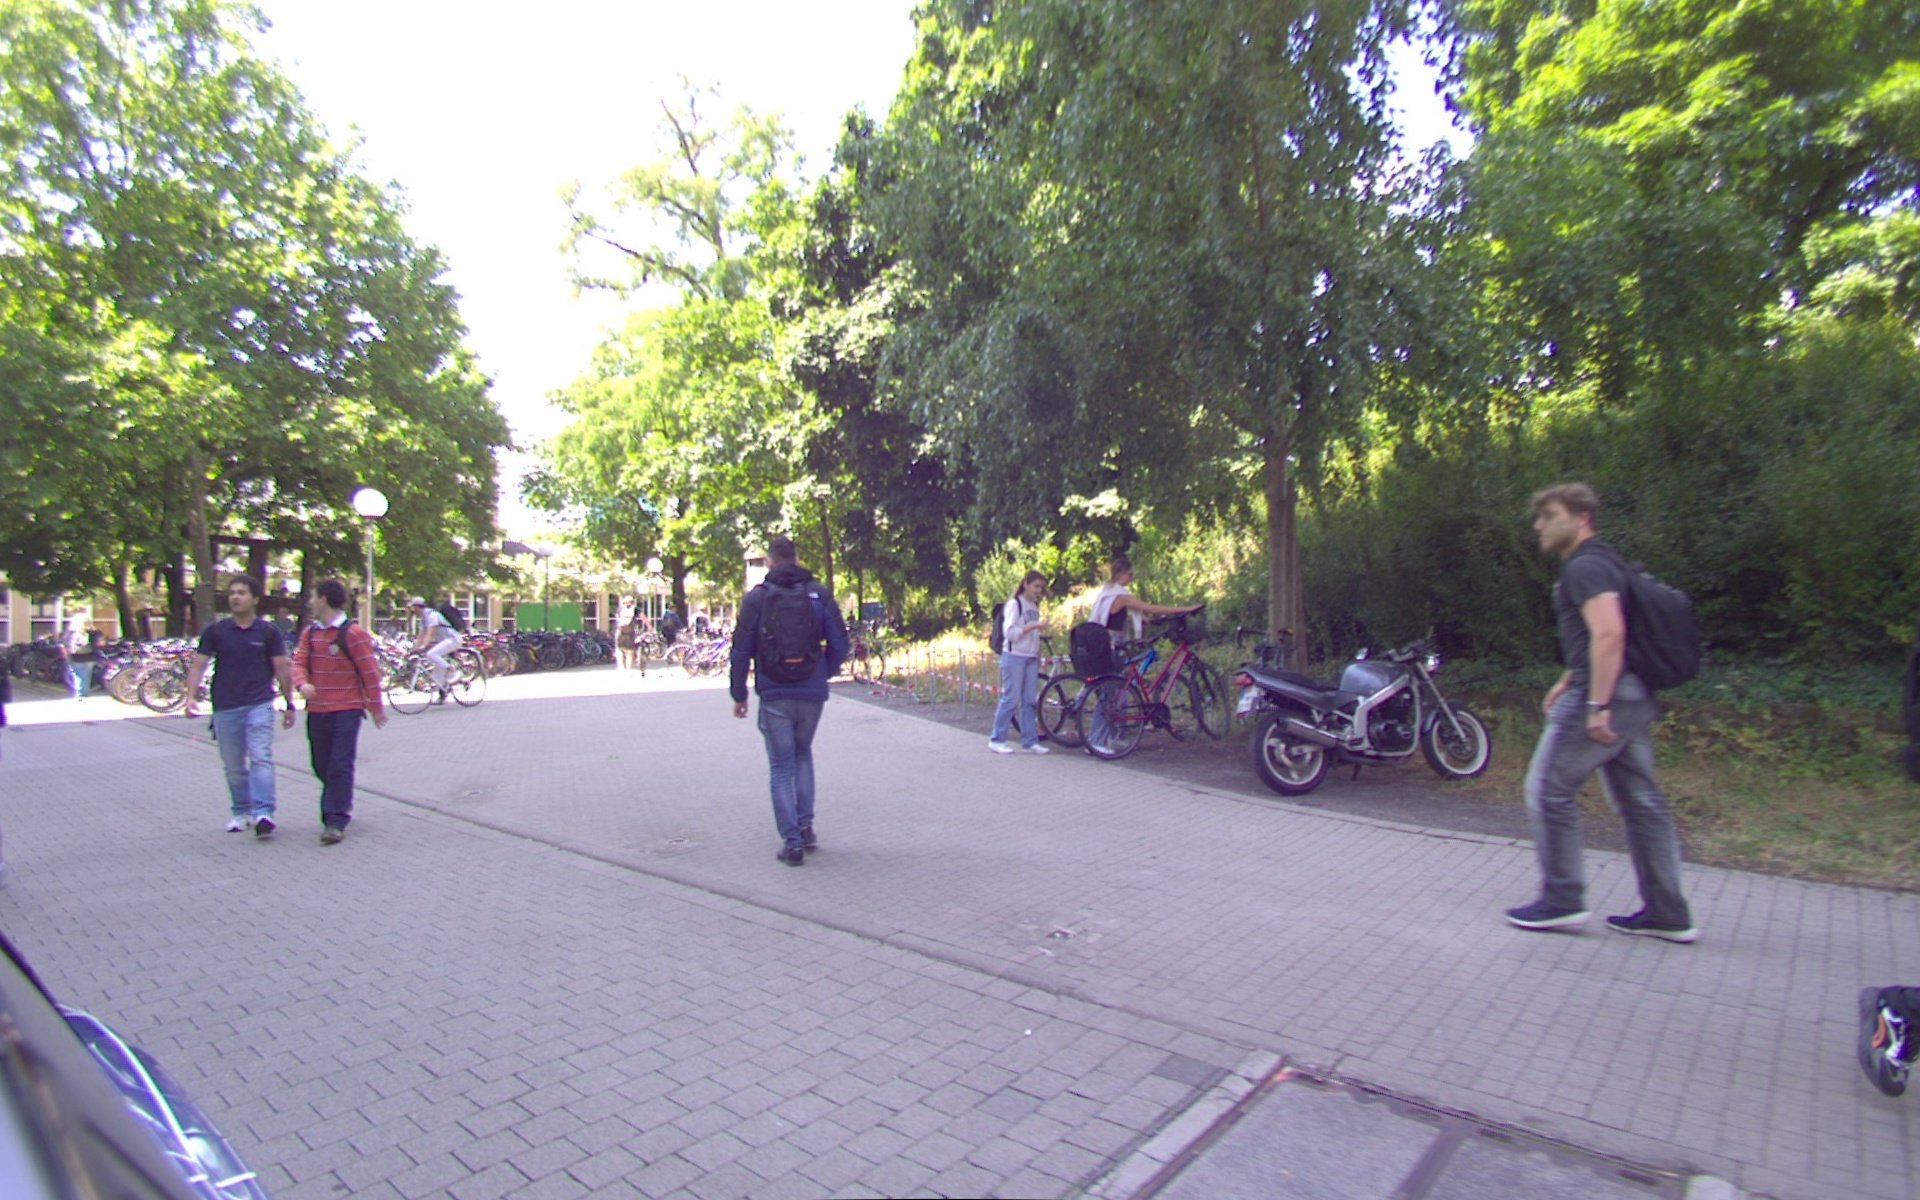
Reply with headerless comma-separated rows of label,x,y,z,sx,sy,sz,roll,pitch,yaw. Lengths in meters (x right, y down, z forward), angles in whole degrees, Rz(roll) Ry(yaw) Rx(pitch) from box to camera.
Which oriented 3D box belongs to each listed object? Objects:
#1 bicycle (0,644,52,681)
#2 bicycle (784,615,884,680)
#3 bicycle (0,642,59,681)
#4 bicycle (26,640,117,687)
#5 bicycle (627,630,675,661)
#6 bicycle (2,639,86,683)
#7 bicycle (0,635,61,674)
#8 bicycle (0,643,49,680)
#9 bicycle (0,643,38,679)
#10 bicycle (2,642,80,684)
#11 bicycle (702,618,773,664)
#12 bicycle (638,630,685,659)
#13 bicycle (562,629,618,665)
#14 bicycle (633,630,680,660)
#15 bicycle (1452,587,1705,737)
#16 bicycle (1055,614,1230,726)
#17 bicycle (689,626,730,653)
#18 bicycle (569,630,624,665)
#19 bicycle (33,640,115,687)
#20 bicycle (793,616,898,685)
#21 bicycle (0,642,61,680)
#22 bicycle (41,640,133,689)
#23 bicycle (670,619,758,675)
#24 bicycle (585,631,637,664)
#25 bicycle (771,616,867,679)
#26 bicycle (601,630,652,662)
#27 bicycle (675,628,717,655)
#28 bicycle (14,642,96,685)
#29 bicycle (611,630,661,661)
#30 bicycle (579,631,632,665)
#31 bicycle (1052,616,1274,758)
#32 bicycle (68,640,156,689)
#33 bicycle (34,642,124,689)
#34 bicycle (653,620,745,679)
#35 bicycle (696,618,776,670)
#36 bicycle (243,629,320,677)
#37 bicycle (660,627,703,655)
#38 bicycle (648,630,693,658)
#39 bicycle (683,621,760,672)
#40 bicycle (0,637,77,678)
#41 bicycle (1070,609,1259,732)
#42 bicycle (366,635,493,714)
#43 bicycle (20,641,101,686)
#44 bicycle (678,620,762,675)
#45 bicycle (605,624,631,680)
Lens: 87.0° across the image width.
bicycle,-30.497,2.022,32.746,1.606,1.116,0.630,-2,0,-45
bicycle,-2.351,0.874,18.896,1.747,1.118,0.475,-2,0,-20
bicycle,-29.625,1.949,32.050,1.605,1.116,0.497,-2,0,-44
bicycle,-23.772,1.687,27.107,1.711,1.116,0.576,-2,0,-30
bicycle,-11.869,1.751,38.923,1.677,1.091,0.474,-2,0,3
bicycle,-27.348,1.812,30.244,0.496,1.170,1.764,-2,0,36
bicycle,-29.119,1.698,31.543,1.605,1.116,0.691,-2,0,-44
bicycle,-30.921,2.009,33.118,1.605,1.116,0.497,-2,0,-44
bicycle,-31.478,2.021,33.345,1.605,1.116,0.497,-2,0,-44
bicycle,-27.057,1.846,29.821,0.496,1.116,1.610,-2,0,36
bicycle,-5.776,1.058,26.369,1.749,1.118,0.518,-2,0,-10
bicycle,-11.870,1.767,40.248,1.677,1.091,0.474,-2,0,3
bicycle,-12.275,1.553,33.576,1.677,1.091,0.474,-2,0,3
bicycle,-11.889,1.754,39.601,1.677,1.091,0.474,-2,0,3
bicycle,4.896,0.448,8.141,0.466,1.054,1.705,-4,2,-27
bicycle,1.856,0.704,10.404,1.676,1.055,0.474,-2,0,1
bicycle,-10.997,1.726,44.429,1.682,1.091,0.472,-2,0,13
bicycle,-12.386,1.614,34.528,1.677,1.091,0.474,-2,0,3
bicycle,-24.169,1.718,27.645,1.603,1.152,0.498,-2,0,-35
bicycle,-2.023,0.873,17.868,1.747,1.118,0.475,-2,0,-20
bicycle,-29.960,1.955,32.499,1.605,1.116,0.506,-2,0,-44
bicycle,-22.576,1.642,26.210,0.496,1.134,1.719,-2,0,36
bicycle,-5.288,1.006,21.817,1.751,1.118,0.475,-2,0,-5
bicycle,-12.322,1.677,35.752,1.677,1.091,0.474,-2,0,3
bicycle,-2.734,0.910,19.696,1.747,1.118,0.475,-2,0,-20
bicycle,-12.172,1.686,36.951,1.677,1.091,0.474,-2,0,3
bicycle,-11.293,1.775,43.333,1.682,1.091,0.472,-2,0,13
bicycle,-26.205,1.819,29.339,1.699,1.116,0.720,-2,0,-38
bicycle,-12.089,1.693,37.762,1.677,1.091,0.474,-2,0,3
bicycle,-12.350,1.659,35.252,1.677,1.091,0.474,-2,0,3
bicycle,1.769,0.708,8.748,1.876,1.055,0.544,-2,0,-24
bicycle,-21.827,1.650,26.080,0.493,1.116,1.731,-2,0,17
bicycle,-23.095,1.700,26.554,0.497,1.116,1.717,-2,0,41
bicycle,-5.324,1.006,20.709,1.751,1.118,0.475,-2,0,-5
bicycle,-5.155,1.006,23.338,1.749,1.118,0.475,-2,0,-10
bicycle,-18.293,1.418,27.289,1.676,1.208,0.575,-2,0,2
bicycle,-11.680,1.728,42.386,1.682,1.091,0.472,-2,0,13
bicycle,-11.761,1.781,41.124,1.680,1.091,0.473,-2,0,8
bicycle,-5.687,1.110,24.184,1.749,1.118,0.475,-2,0,-10
bicycle,-27.857,1.726,30.628,0.644,1.116,1.610,-2,0,36
bicycle,1.958,0.669,9.783,1.676,1.054,0.474,-3,1,1
bicycle,-8.281,1.134,15.858,0.601,1.091,1.683,-2,0,29
bicycle,-24.760,1.734,27.894,1.603,1.116,0.498,-2,0,-35
bicycle,-5.282,1.037,22.375,1.749,1.118,0.475,-2,0,-10
bicycle,-7.460,1.113,22.103,0.466,1.118,1.851,-2,0,-18
